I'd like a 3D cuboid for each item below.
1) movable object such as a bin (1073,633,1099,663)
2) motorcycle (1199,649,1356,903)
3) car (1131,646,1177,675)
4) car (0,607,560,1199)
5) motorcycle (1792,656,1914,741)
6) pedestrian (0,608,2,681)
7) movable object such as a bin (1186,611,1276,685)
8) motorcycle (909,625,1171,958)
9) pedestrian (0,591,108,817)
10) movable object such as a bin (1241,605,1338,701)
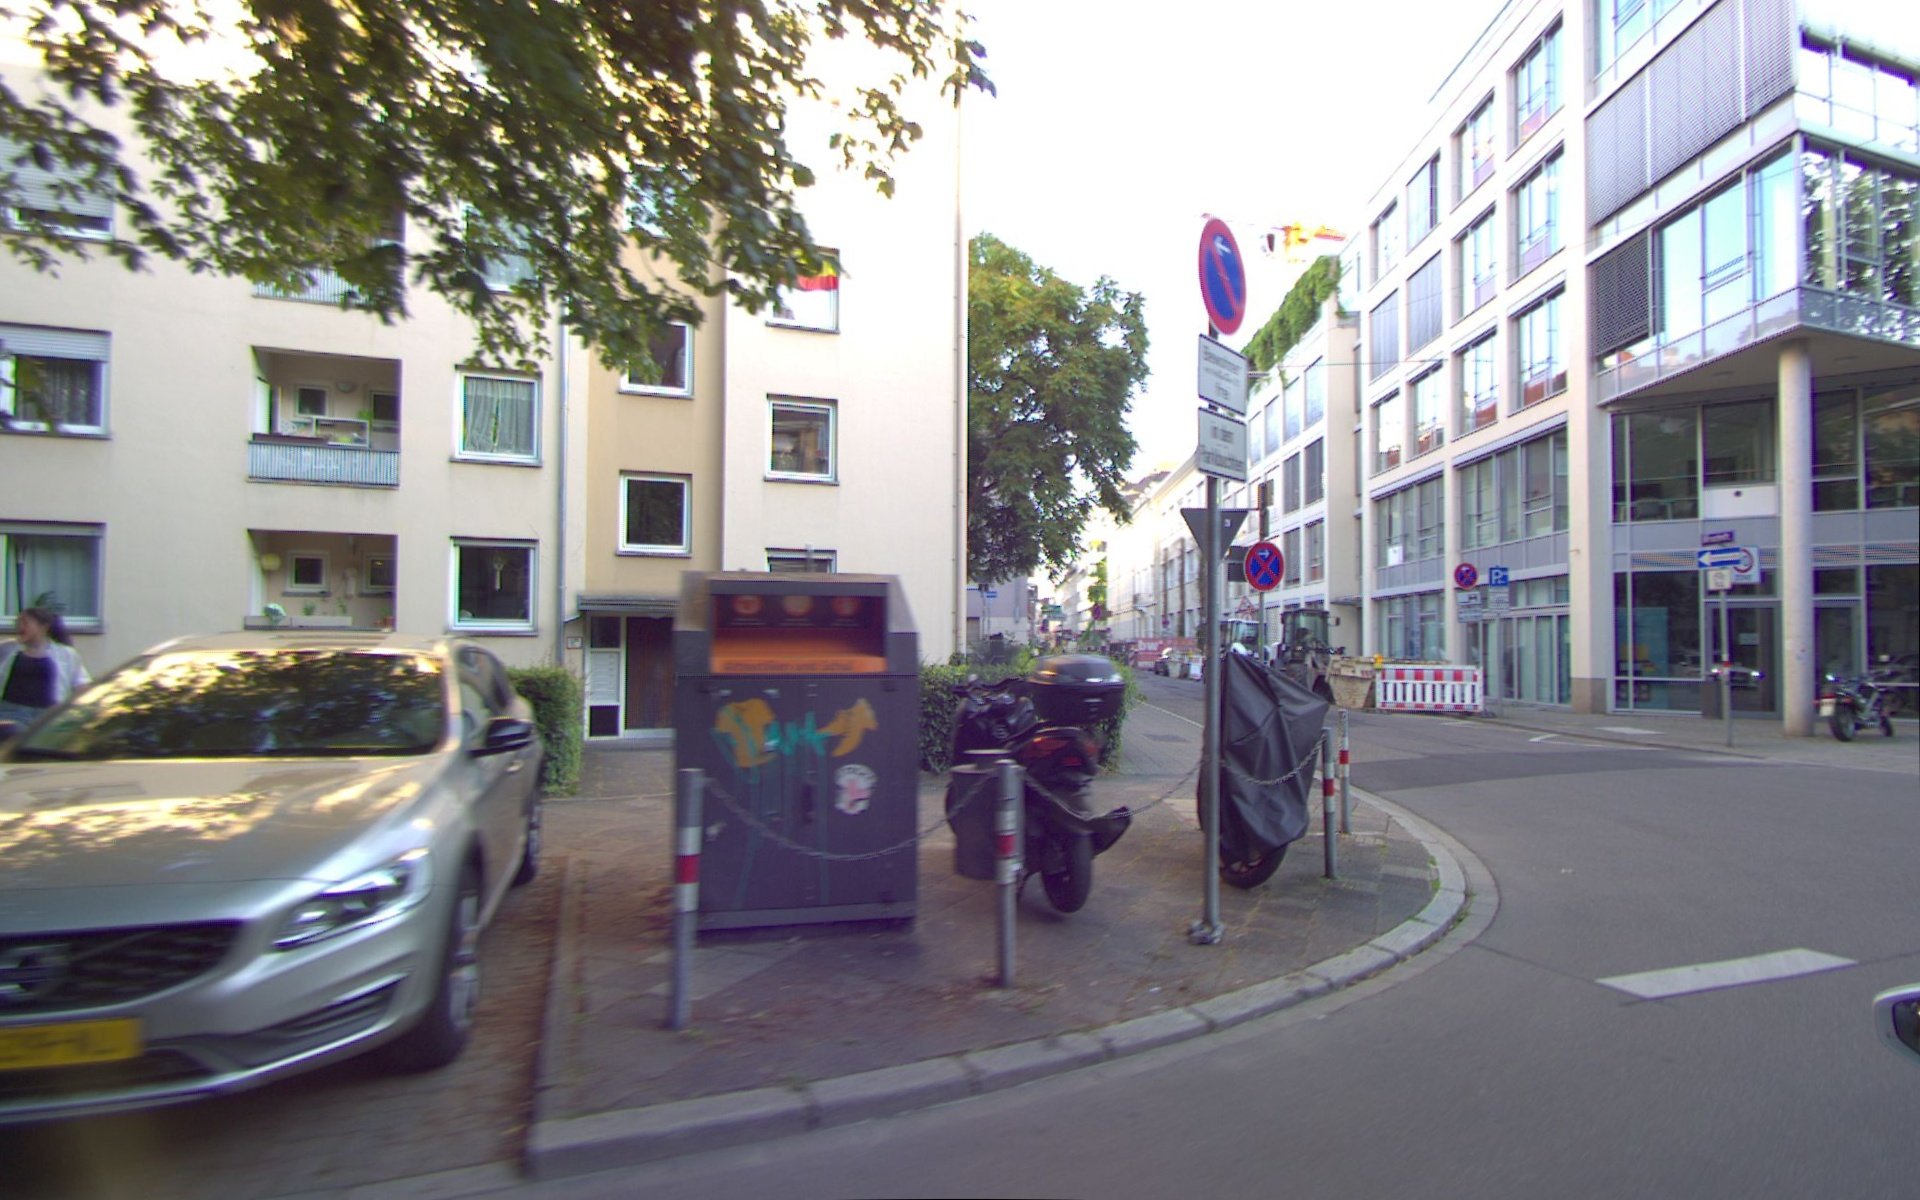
[{"bbox_3d":[14.087,5.338,112.423,2.429,3.172,4.299,1,-2,2],"label":"movable object such as a bin"},{"bbox_3d":[2.050,1.037,6.772,0.708,1.392,2.226,0,-2,10],"label":"motorcycle"},{"bbox_3d":[10.262,3.195,53.389,1.665,1.424,4.481,1,-2,2],"label":"car"},{"bbox_3d":[-2.994,0.871,4.495,2.024,1.602,4.493,2,-1,-20],"label":"car"},{"bbox_3d":[14.767,1.596,16.606,2.095,1.291,0.613,0,-2,-22],"label":"motorcycle"},{"bbox_3d":[-6.251,0.948,6.017,0.686,1.811,0.528,-1,-2,29],"label":"pedestrian"},{"bbox_3d":[10.357,1.844,38.860,2.130,2.630,5.546,0,-3,2],"label":"movable object such as a bin"},{"bbox_3d":[0.338,0.920,5.754,0.680,1.513,2.215,1,-2,-19],"label":"motorcycle"},{"bbox_3d":[-6.887,0.747,7.476,0.439,1.592,0.661,0,-2,18],"label":"pedestrian"},{"bbox_3d":[9.795,1.566,30.165,1.766,2.669,4.113,0,-2,4],"label":"movable object such as a bin"}]
